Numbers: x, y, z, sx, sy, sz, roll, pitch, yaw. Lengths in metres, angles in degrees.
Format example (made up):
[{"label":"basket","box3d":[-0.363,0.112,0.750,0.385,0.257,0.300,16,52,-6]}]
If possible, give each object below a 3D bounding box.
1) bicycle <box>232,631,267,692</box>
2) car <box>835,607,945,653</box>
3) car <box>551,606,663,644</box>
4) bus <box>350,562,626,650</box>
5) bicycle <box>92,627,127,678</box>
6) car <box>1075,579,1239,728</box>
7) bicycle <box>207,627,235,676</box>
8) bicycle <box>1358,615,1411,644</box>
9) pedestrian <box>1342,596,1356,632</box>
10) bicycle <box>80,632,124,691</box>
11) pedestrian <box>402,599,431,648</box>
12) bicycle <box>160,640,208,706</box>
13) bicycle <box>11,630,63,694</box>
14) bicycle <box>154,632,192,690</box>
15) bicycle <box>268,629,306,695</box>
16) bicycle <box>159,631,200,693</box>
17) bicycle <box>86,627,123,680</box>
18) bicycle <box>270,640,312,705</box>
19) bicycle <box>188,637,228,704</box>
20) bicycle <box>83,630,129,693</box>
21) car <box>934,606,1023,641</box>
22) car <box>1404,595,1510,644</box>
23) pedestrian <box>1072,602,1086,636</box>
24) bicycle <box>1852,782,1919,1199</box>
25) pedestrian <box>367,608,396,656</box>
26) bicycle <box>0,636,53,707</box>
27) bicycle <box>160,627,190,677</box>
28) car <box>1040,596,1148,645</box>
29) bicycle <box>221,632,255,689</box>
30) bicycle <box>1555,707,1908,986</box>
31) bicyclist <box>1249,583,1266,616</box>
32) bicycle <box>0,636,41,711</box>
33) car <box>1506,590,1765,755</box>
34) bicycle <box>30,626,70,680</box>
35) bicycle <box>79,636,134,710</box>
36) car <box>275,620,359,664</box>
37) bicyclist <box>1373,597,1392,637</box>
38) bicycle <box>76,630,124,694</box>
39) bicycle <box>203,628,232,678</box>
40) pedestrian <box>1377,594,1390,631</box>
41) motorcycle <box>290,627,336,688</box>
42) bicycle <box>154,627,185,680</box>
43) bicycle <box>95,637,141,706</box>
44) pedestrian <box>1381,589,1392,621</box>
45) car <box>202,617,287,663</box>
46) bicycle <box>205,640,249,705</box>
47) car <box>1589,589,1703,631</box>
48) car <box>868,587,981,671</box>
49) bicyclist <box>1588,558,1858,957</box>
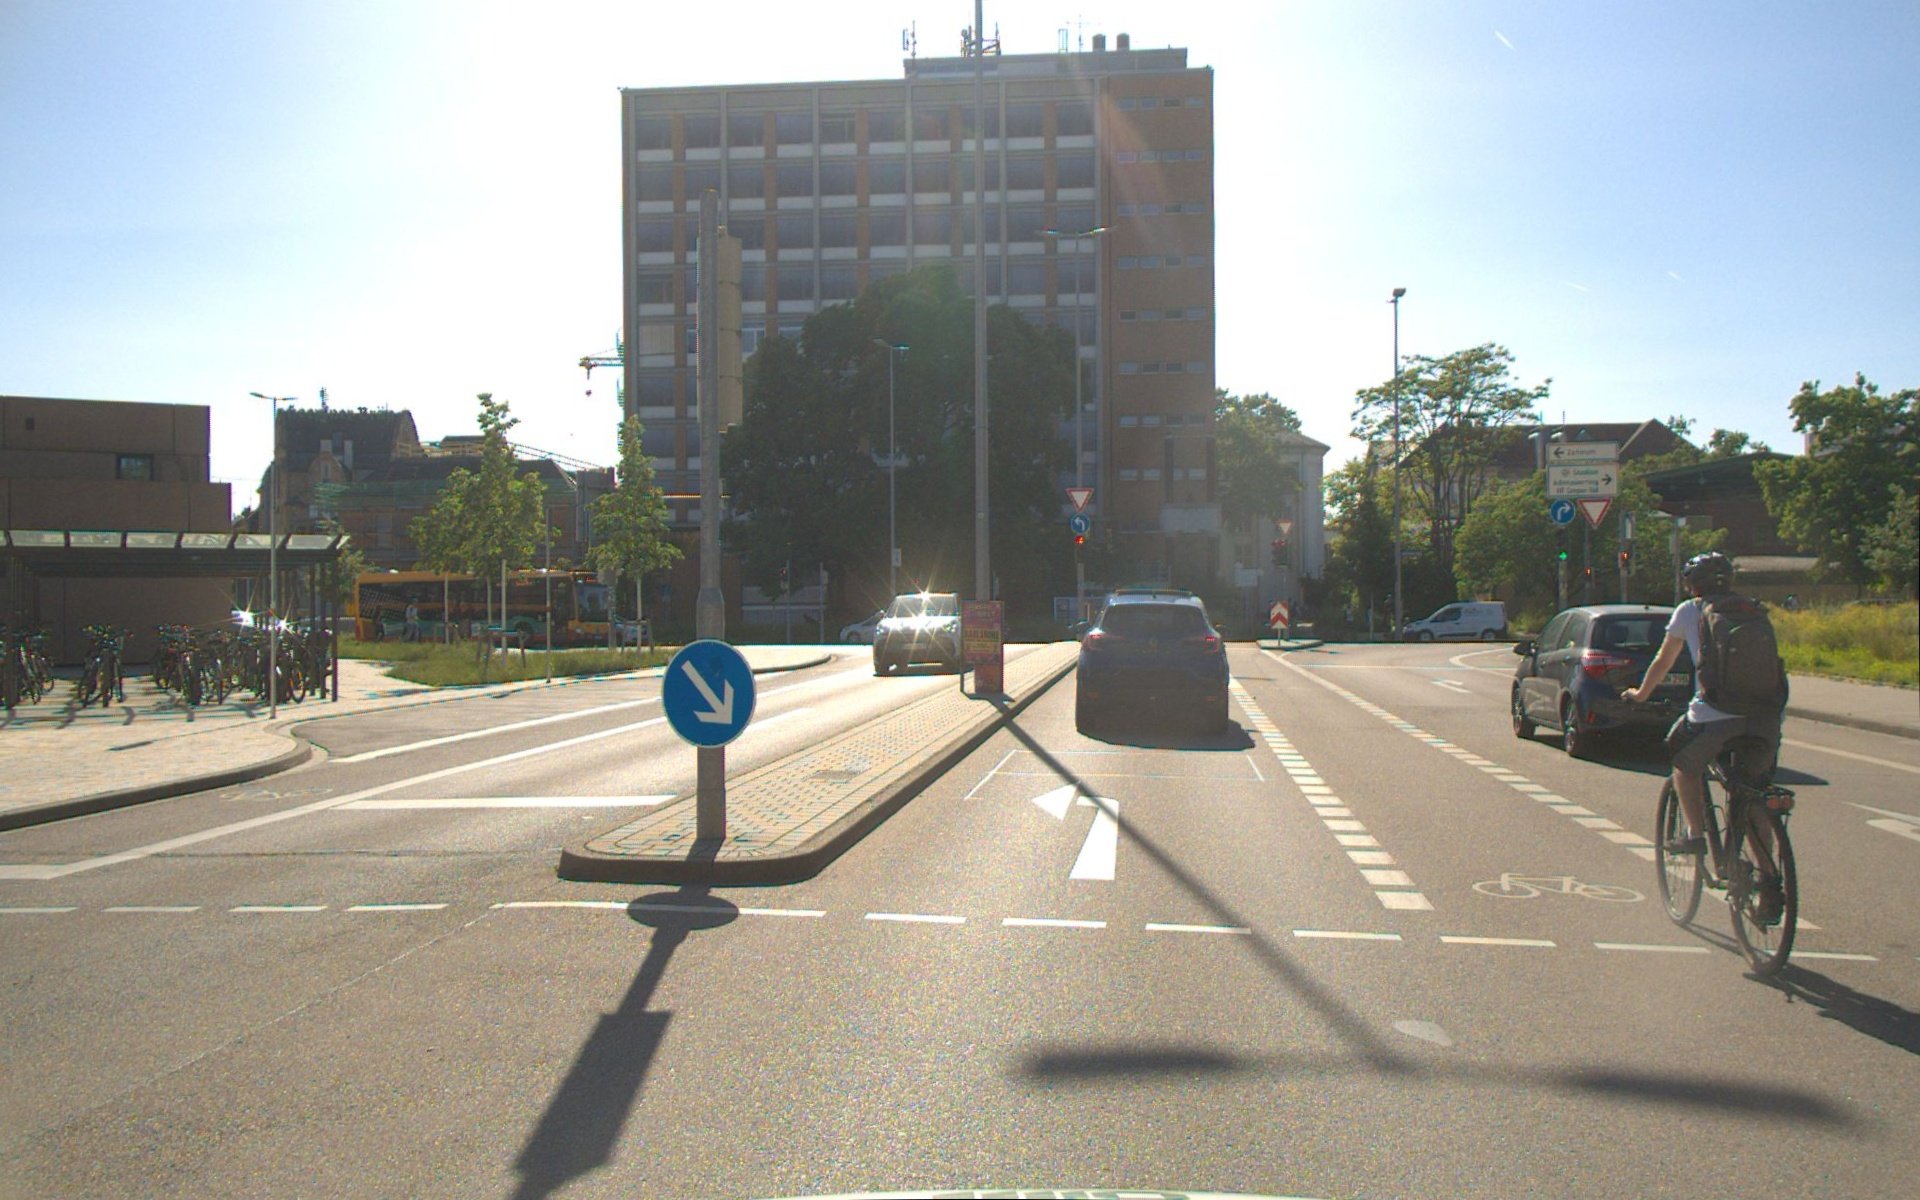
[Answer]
[{"label":"bicycle","box3d":[-13.366,1.153,31.133,0.572,1.107,2.044,1,-2,-23]},{"label":"car","box3d":[-3.132,1.364,74.443,4.552,2.049,2.001,0,-2,17]},{"label":"car","box3d":[-14.938,1.085,69.982,4.308,1.548,1.969,-1,-2,24]},{"label":"bus","box3d":[-19.711,0.333,68.698,12.160,3.456,2.880,-1,-2,26]},{"label":"bicycle","box3d":[-18.977,1.162,36.919,0.573,1.107,1.857,1,-2,-24]},{"label":"car","box3d":[2.347,0.608,20.217,1.785,1.628,3.661,1,-1,5]},{"label":"bicycle","box3d":[-16.998,1.179,38.043,0.573,1.107,1.857,1,-2,-24]},{"label":"bicycle","box3d":[20.322,1.425,79.184,2.399,1.394,0.852,0,-2,16]},{"label":"pedestrian","box3d":[18.553,0.676,78.909,0.549,1.699,0.476,-1,-2,22]},{"label":"bicycle","box3d":[-16.597,1.190,32.014,0.572,1.107,1.886,1,-2,-23]},{"label":"pedestrian","box3d":[-19.532,0.849,59.432,0.612,1.772,0.788,-1,-2,23]},{"label":"bicycle","box3d":[-11.990,1.111,25.591,0.572,0.978,2.044,1,-2,-23]},{"label":"bicycle","box3d":[-16.520,1.097,29.635,0.572,1.107,2.044,1,-2,-23]},{"label":"bicycle","box3d":[-15.533,1.189,32.658,0.572,1.107,1.915,1,-2,-23]},{"label":"bicycle","box3d":[-11.472,1.046,28.169,0.572,1.070,1.958,1,-2,-23]},{"label":"bicycle","box3d":[-14.498,1.138,30.758,0.572,1.107,2.044,1,-2,-23]},{"label":"bicycle","box3d":[-18.172,1.130,35.166,0.573,1.107,1.857,1,-2,-24]},{"label":"bicycle","box3d":[-10.645,1.137,26.288,0.572,0.978,2.044,1,-2,-23]},{"label":"bicycle","box3d":[-12.520,1.166,27.546,0.573,1.076,1.802,1,-2,-25]},{"label":"bicycle","box3d":[-15.558,1.116,30.162,0.572,1.107,2.044,1,-2,-23]},{"label":"car","box3d":[0.891,1.125,77.990,3.813,1.614,1.880,0,-2,18]},{"label":"car","box3d":[21.267,0.871,70.818,4.256,2.049,2.001,0,-2,17]},{"label":"pedestrian","box3d":[6.061,0.981,84.180,0.549,1.699,0.476,-1,-2,22]},{"label":"bicycle","box3d":[2.538,0.998,3.144,0.649,1.065,1.890,-1,1,0]},{"label":"pedestrian","box3d":[-21.279,1.175,60.833,0.640,1.772,0.788,-1,-2,23]},{"label":"bicycle","box3d":[-14.797,1.120,26.234,0.573,1.076,1.802,1,-2,-25]},{"label":"bicycle","box3d":[-17.843,1.186,37.610,0.573,1.107,1.857,1,-2,-24]},{"label":"car","box3d":[5.780,0.907,71.171,4.279,2.049,2.001,0,-2,17]},{"label":"bicycle","box3d":[-14.441,1.206,33.109,0.572,1.107,2.001,1,-2,-23]},{"label":"bicycle","box3d":[3.375,1.030,7.448,0.707,0.976,1.883,0,0,0]},{"label":"bicyclist","box3d":[16.909,-0.017,93.914,0.862,1.829,1.161,0,-2,6]},{"label":"bicycle","box3d":[-14.012,1.071,24.466,0.573,1.076,1.802,1,-2,-25]},{"label":"car","box3d":[7.102,0.727,17.768,1.718,1.569,3.661,0,-1,8]},{"label":"bicycle","box3d":[-19.101,1.114,34.745,0.573,1.107,1.857,1,-2,-24]},{"label":"bicycle","box3d":[-12.868,1.090,24.972,0.572,1.076,1.803,1,-2,-23]},{"label":"car","box3d":[-30.474,1.998,78.356,3.924,2.049,2.001,-1,-2,39]},{"label":"bicyclist","box3d":[20.250,0.809,79.224,0.838,1.879,0.852,0,-2,16]},{"label":"bicycle","box3d":[-15.508,1.108,29.860,0.572,1.107,2.044,1,-2,-23]},{"label":"bicycle","box3d":[-16.980,1.211,37.802,0.573,1.107,1.856,1,-2,-25]},{"label":"pedestrian","box3d":[19.645,0.591,76.726,0.545,1.699,0.476,-1,-2,22]},{"label":"motorcycle","box3d":[-12.991,1.145,33.186,0.545,1.197,1.901,1,-2,-31]},{"label":"bicycle","box3d":[-17.077,1.151,35.756,0.573,1.107,1.856,1,-2,-25]},{"label":"bicycle","box3d":[-13.616,1.140,26.785,0.573,1.076,1.802,1,-2,-25]},{"label":"pedestrian","box3d":[22.861,0.266,88.667,0.565,1.699,0.562,0,-2,17]},{"label":"car","box3d":[-32.627,1.837,75.377,3.924,2.049,2.001,-1,-2,39]},{"label":"bicycle","box3d":[-11.429,1.120,25.831,0.572,0.978,2.044,1,-2,-23]},{"label":"car","box3d":[27.064,0.420,65.371,4.029,1.614,1.880,0,-2,19]},{"label":"car","box3d":[-0.676,0.570,35.022,1.779,1.596,4.253,-2,0,6]},{"label":"bicyclist","box3d":[3.382,0.658,7.424,0.707,1.654,1.055,1,0,-1]}]
